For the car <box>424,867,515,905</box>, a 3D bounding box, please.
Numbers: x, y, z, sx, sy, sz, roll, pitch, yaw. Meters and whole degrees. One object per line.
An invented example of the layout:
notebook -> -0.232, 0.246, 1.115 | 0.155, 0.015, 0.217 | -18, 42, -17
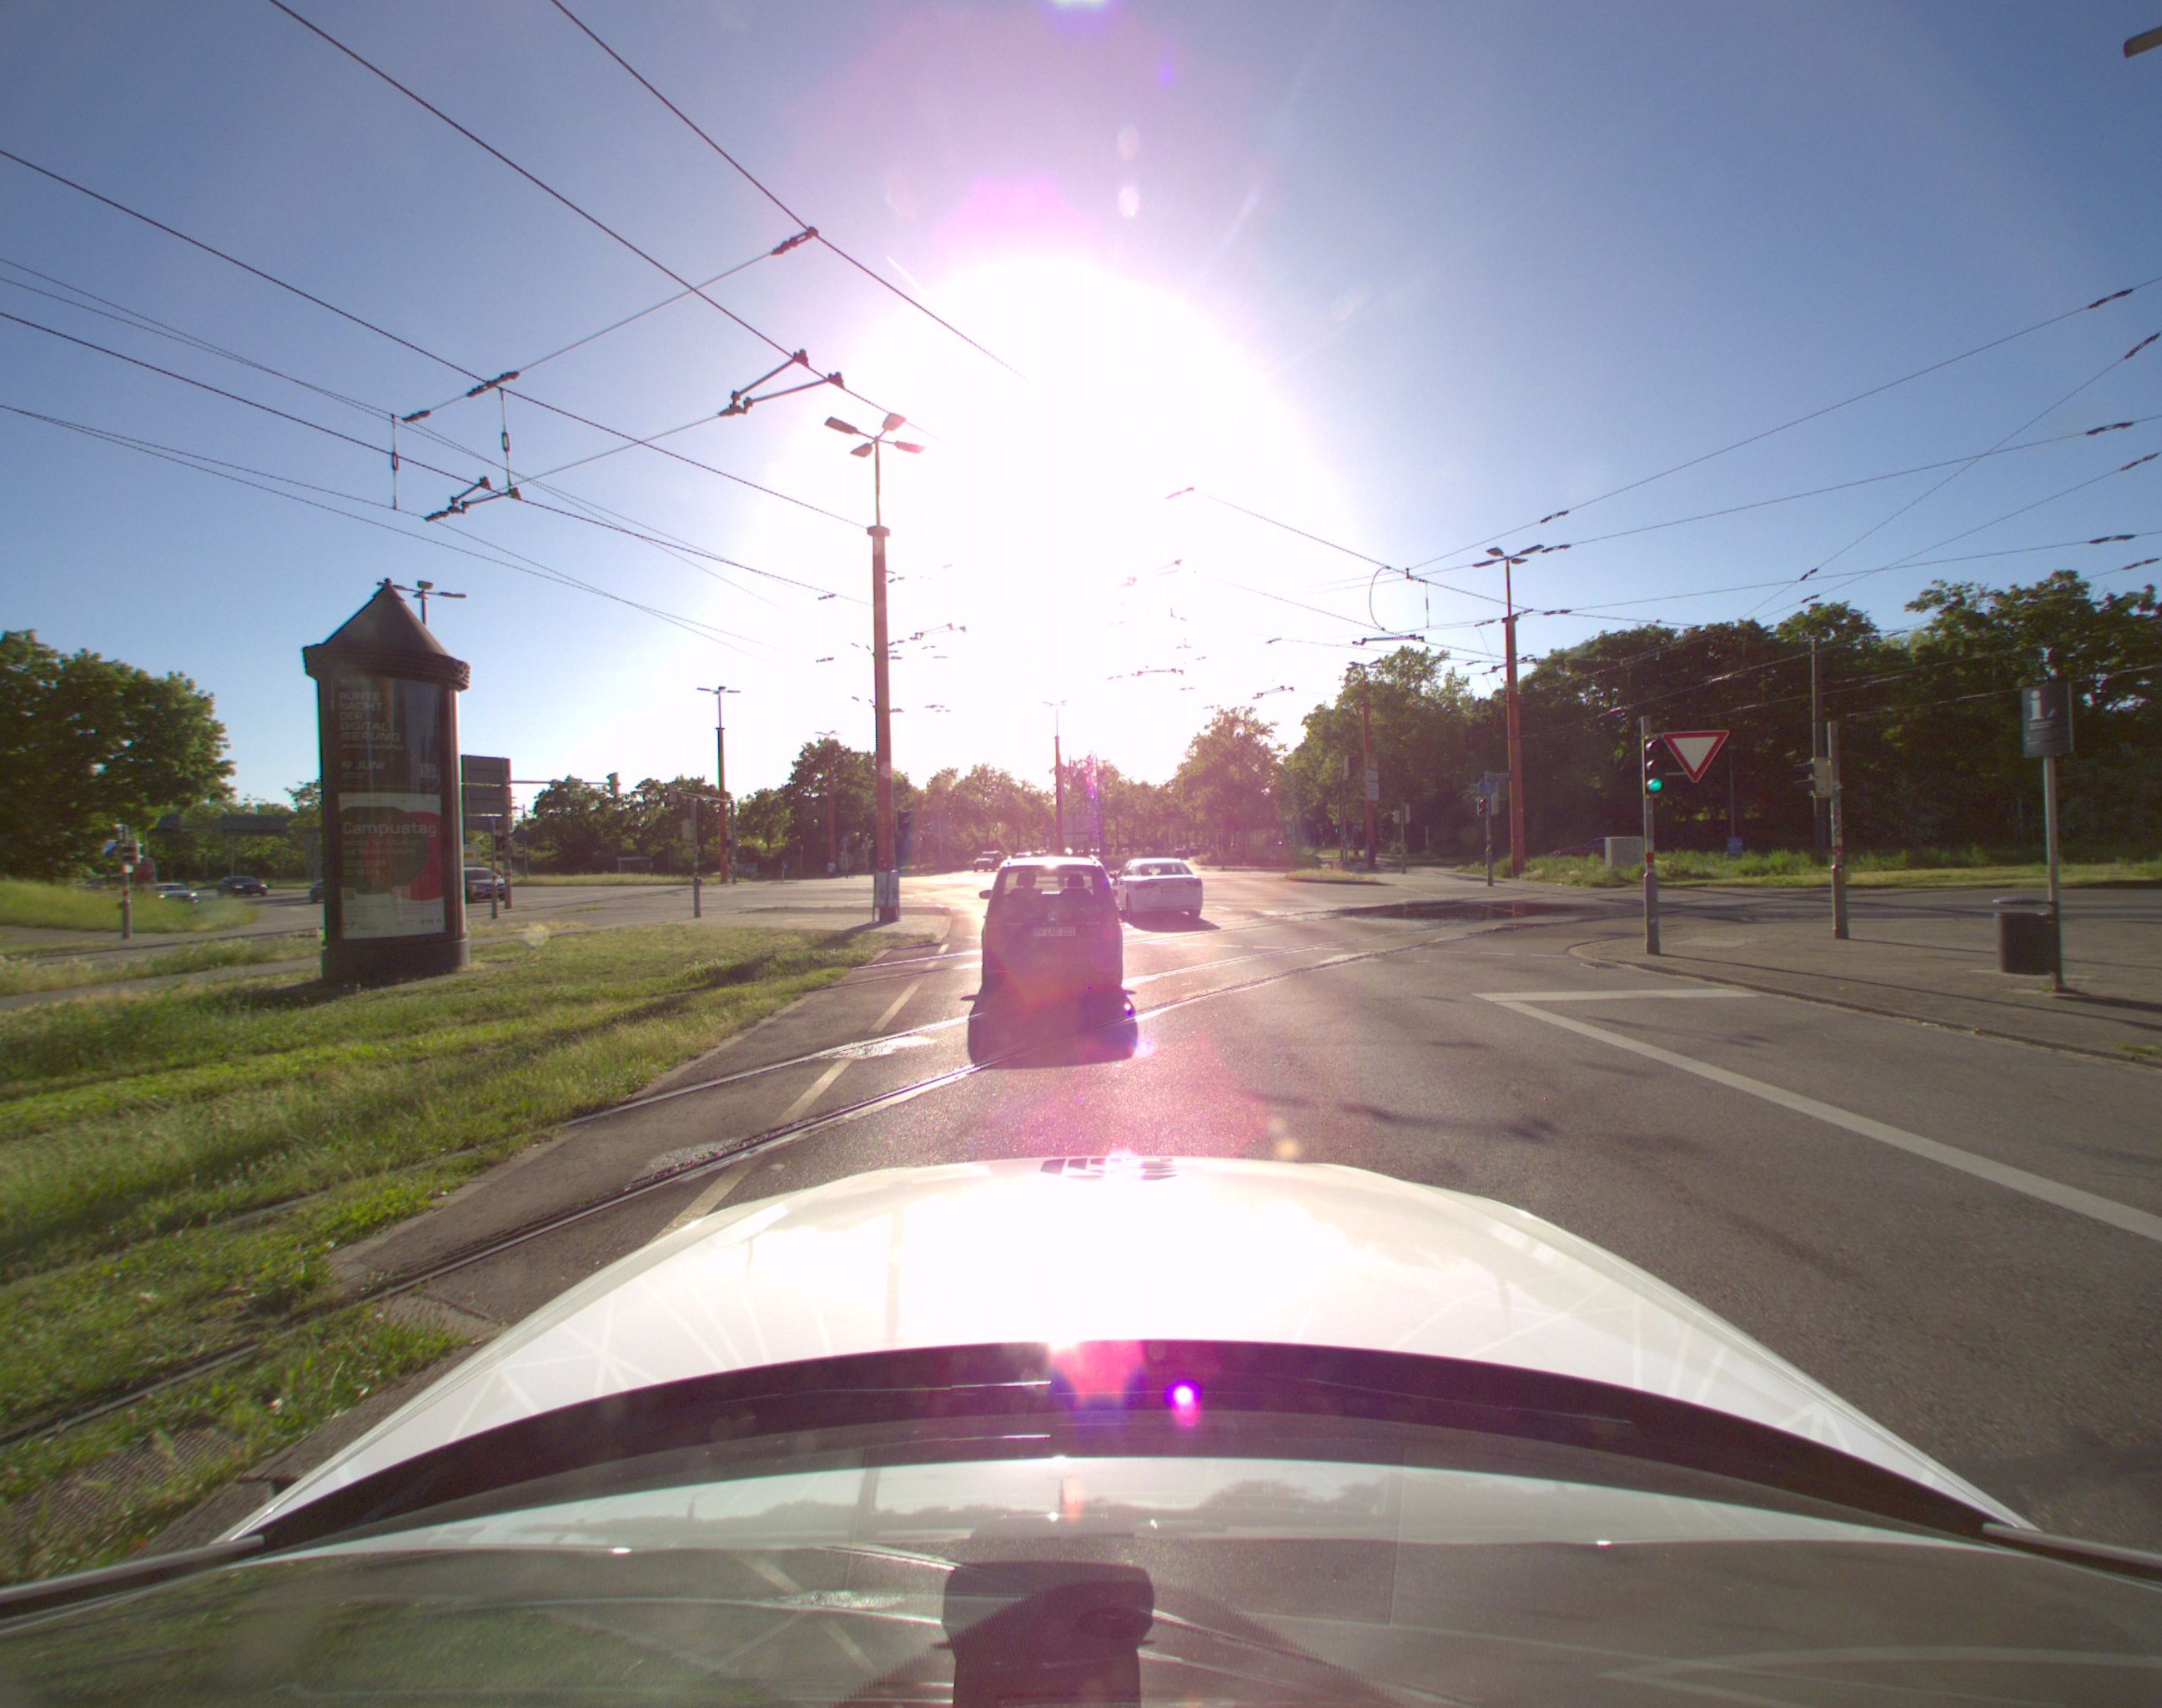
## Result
car -> -31.631, 1.654, 42.115 | 4.390, 1.775, 1.916 | -2, 2, 27

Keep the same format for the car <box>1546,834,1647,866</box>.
car -> 26.510, -0.198, 42.082 | 4.235, 1.495, 2.012 | -2, 0, 27

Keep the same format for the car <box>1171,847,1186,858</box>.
car -> 12.945, -0.152, 108.451 | 1.781, 1.388, 4.055 | -1, 1, 4

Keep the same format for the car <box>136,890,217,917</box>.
car -> -59.149, 3.222, 53.274 | 4.212, 1.550, 1.914 | -2, 2, 18

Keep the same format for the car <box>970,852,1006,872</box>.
car -> -8.419, 0.677, 74.333 | 1.890, 1.726, 4.667 | -2, 0, 10

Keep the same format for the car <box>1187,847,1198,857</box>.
car -> 18.926, -0.368, 137.955 | 1.862, 1.627, 4.009 | 0, -1, 8

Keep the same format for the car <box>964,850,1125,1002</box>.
car -> -0.395, 0.796, 11.576 | 1.762, 1.644, 4.923 | -2, 0, 0

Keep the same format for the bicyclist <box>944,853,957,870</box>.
bicyclist -> -11.970, 0.702, 74.885 | 0.753, 1.557, 0.986 | -2, 1, 17

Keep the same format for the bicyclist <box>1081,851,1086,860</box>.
bicyclist -> 0.449, 0.231, 141.118 | 0.730, 1.436, 0.969 | -2, 0, 14

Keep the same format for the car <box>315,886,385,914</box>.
car -> -42.959, 2.665, 47.843 | 4.506, 1.474, 1.917 | -2, 2, 34

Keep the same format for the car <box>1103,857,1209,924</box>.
car -> 1.818, 0.849, 21.102 | 1.766, 1.464, 4.354 | -2, 0, -8

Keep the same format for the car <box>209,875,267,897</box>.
car -> -67.648, 2.560, 65.363 | 4.508, 1.610, 1.916 | -2, 2, 27

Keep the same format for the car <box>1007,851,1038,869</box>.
car -> -5.135, 0.500, 71.939 | 1.757, 1.538, 4.102 | -2, 0, 9

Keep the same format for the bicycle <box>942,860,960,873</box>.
bicycle -> -11.947, 1.099, 74.885 | 0.758, 1.091, 2.024 | -2, 1, 17
